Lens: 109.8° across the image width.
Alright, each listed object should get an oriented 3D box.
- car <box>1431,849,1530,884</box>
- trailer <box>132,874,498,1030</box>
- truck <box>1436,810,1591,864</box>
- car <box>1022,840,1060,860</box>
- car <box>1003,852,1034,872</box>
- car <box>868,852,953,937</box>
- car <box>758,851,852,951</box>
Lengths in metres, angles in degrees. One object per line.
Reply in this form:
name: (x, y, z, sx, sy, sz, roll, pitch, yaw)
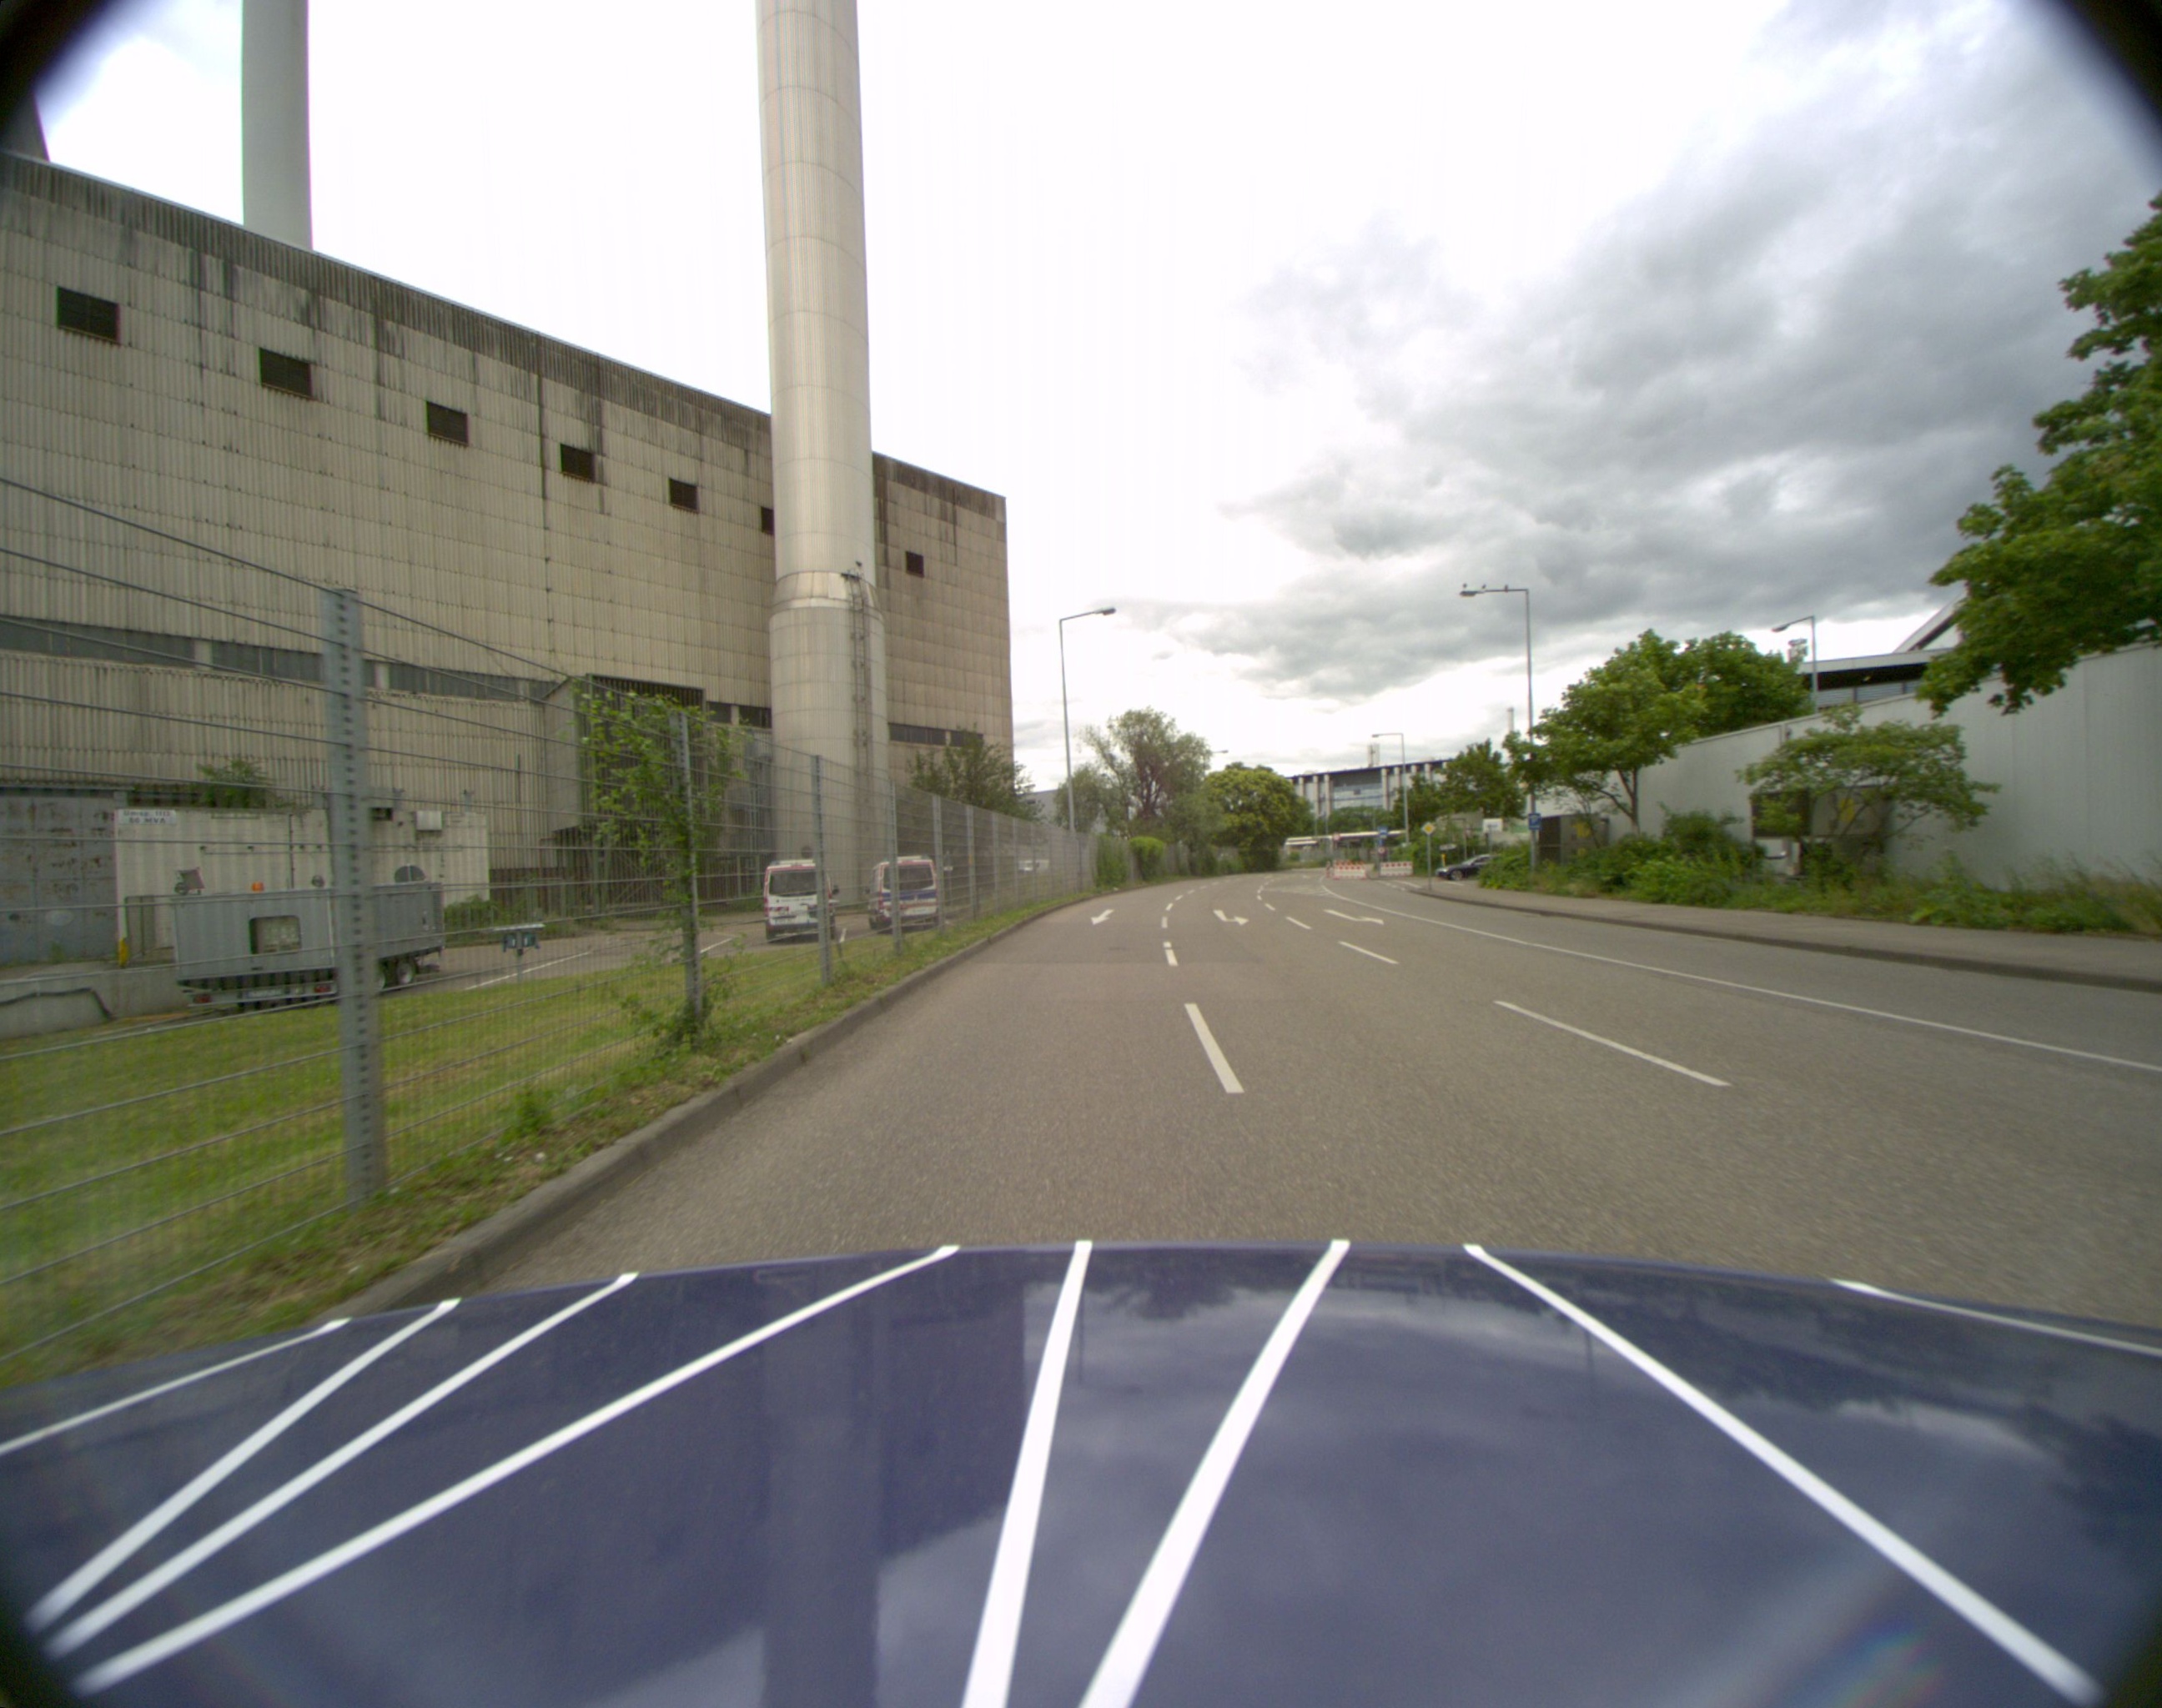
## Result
car: (23.073, 0.709, 44.077, 4.615, 1.799, 2.002, -3, 0, 11)
trailer: (-16.003, 1.807, 16.700, 2.666, 2.528, 6.426, -3, 0, -15)
truck: (31.008, -1.177, 54.933, 9.263, 3.575, 2.934, -1, 1, 12)
car: (-4.962, -0.515, 95.826, 1.995, 2.353, 5.849, -3, 0, 28)
car: (-8.027, 1.043, 97.665, 1.996, 2.353, 5.845, -3, 0, 15)
car: (-6.024, 1.382, 26.299, 2.240, 2.532, 5.185, -3, -2, -18)
car: (-8.792, 1.484, 24.592, 2.429, 2.745, 5.448, -3, -2, -18)
